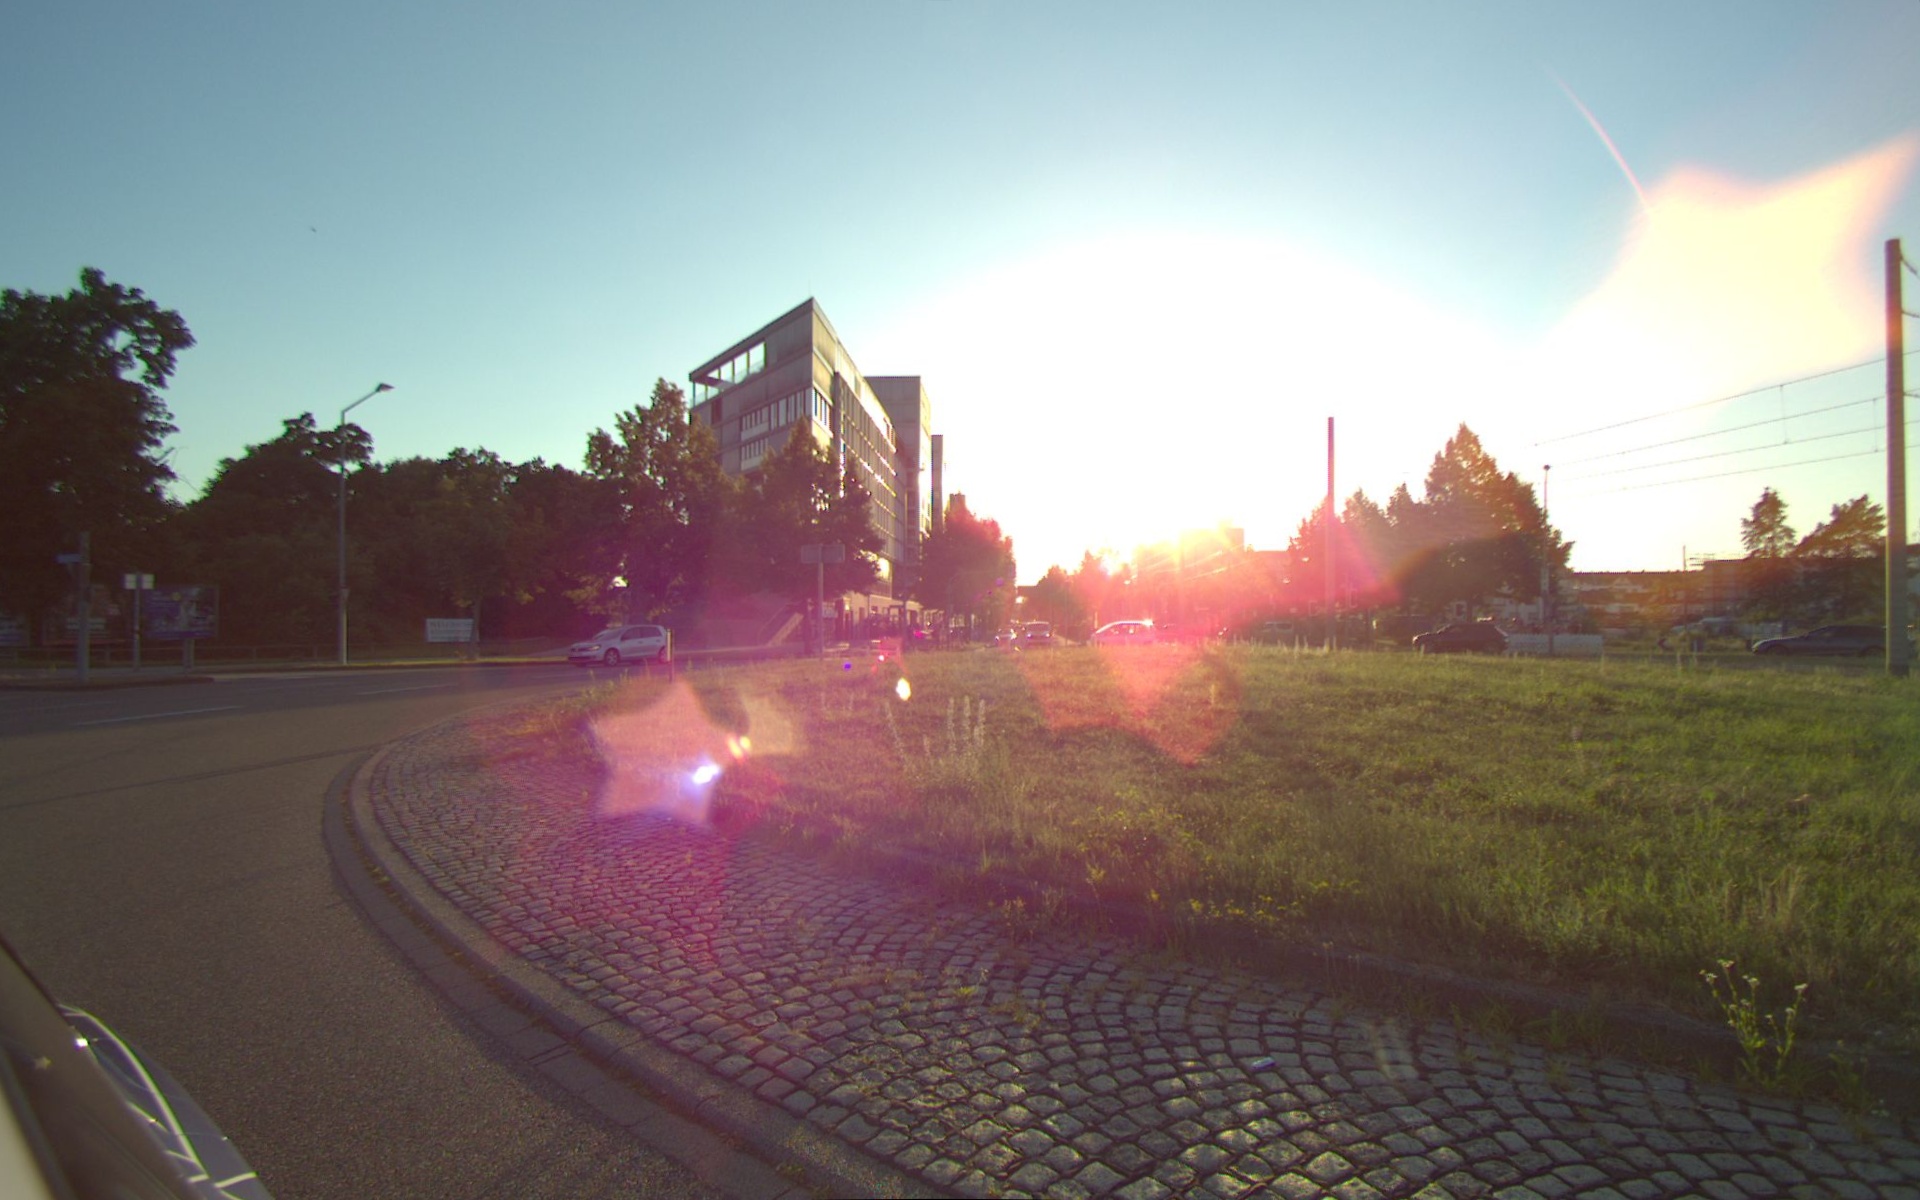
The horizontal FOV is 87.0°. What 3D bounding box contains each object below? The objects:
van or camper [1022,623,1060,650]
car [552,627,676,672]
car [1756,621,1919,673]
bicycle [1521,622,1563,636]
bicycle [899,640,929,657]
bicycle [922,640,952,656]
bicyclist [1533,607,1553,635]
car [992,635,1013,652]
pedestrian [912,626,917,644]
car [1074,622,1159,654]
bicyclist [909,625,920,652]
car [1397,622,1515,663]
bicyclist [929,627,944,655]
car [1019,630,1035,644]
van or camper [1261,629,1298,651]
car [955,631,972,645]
[{"bbox_3d":[6.175,2.737,76.769,1.981,1.972,5.303,-1,-1,15],"label":"van or camper"},{"bbox_3d":[-12.523,1.746,36.825,1.886,1.492,4.007,-1,-1,32],"label":"car"},{"bbox_3d":[31.885,1.677,36.615,1.724,1.761,4.603,1,-3,-41],"label":"car"},{"bbox_3d":[34.717,1.728,60.361,0.504,0.852,2.140,1,-3,-37],"label":"bicycle"},{"bbox_3d":[-2.858,3.016,63.055,1.834,1.030,0.308,0,-2,-6],"label":"bicycle"},{"bbox_3d":[-1.487,3.066,64.950,1.843,1.030,0.436,-1,-2,11],"label":"bicycle"},{"bbox_3d":[34.679,1.275,60.233,0.684,1.646,0.800,1,-3,-37],"label":"bicyclist"},{"bbox_3d":[3.843,3.883,91.020,1.779,1.475,3.996,0,-1,3],"label":"car"},{"bbox_3d":[-5.201,4.031,115.863,0.532,2.029,0.527,-1,-2,3],"label":"pedestrian"},{"bbox_3d":[7.323,1.766,47.517,3.655,1.476,1.608,0,-2,-4],"label":"car"},{"bbox_3d":[-2.843,2.428,63.244,0.674,1.660,0.685,0,-2,-6],"label":"bicyclist"},{"bbox_3d":[22.275,1.906,45.513,4.582,1.761,1.732,-2,-2,32],"label":"car"},{"bbox_3d":[-1.485,2.613,64.600,0.840,1.769,0.801,-1,-2,10],"label":"bicyclist"},{"bbox_3d":[8.267,4.523,124.102,1.756,1.633,3.992,-1,-1,6],"label":"car"},{"bbox_3d":[29.732,3.738,94.346,1.889,2.025,5.297,0,-3,2],"label":"van or camper"},{"bbox_3d":[0.381,4.330,115.829,1.779,1.475,3.996,0,-2,3],"label":"car"}]
